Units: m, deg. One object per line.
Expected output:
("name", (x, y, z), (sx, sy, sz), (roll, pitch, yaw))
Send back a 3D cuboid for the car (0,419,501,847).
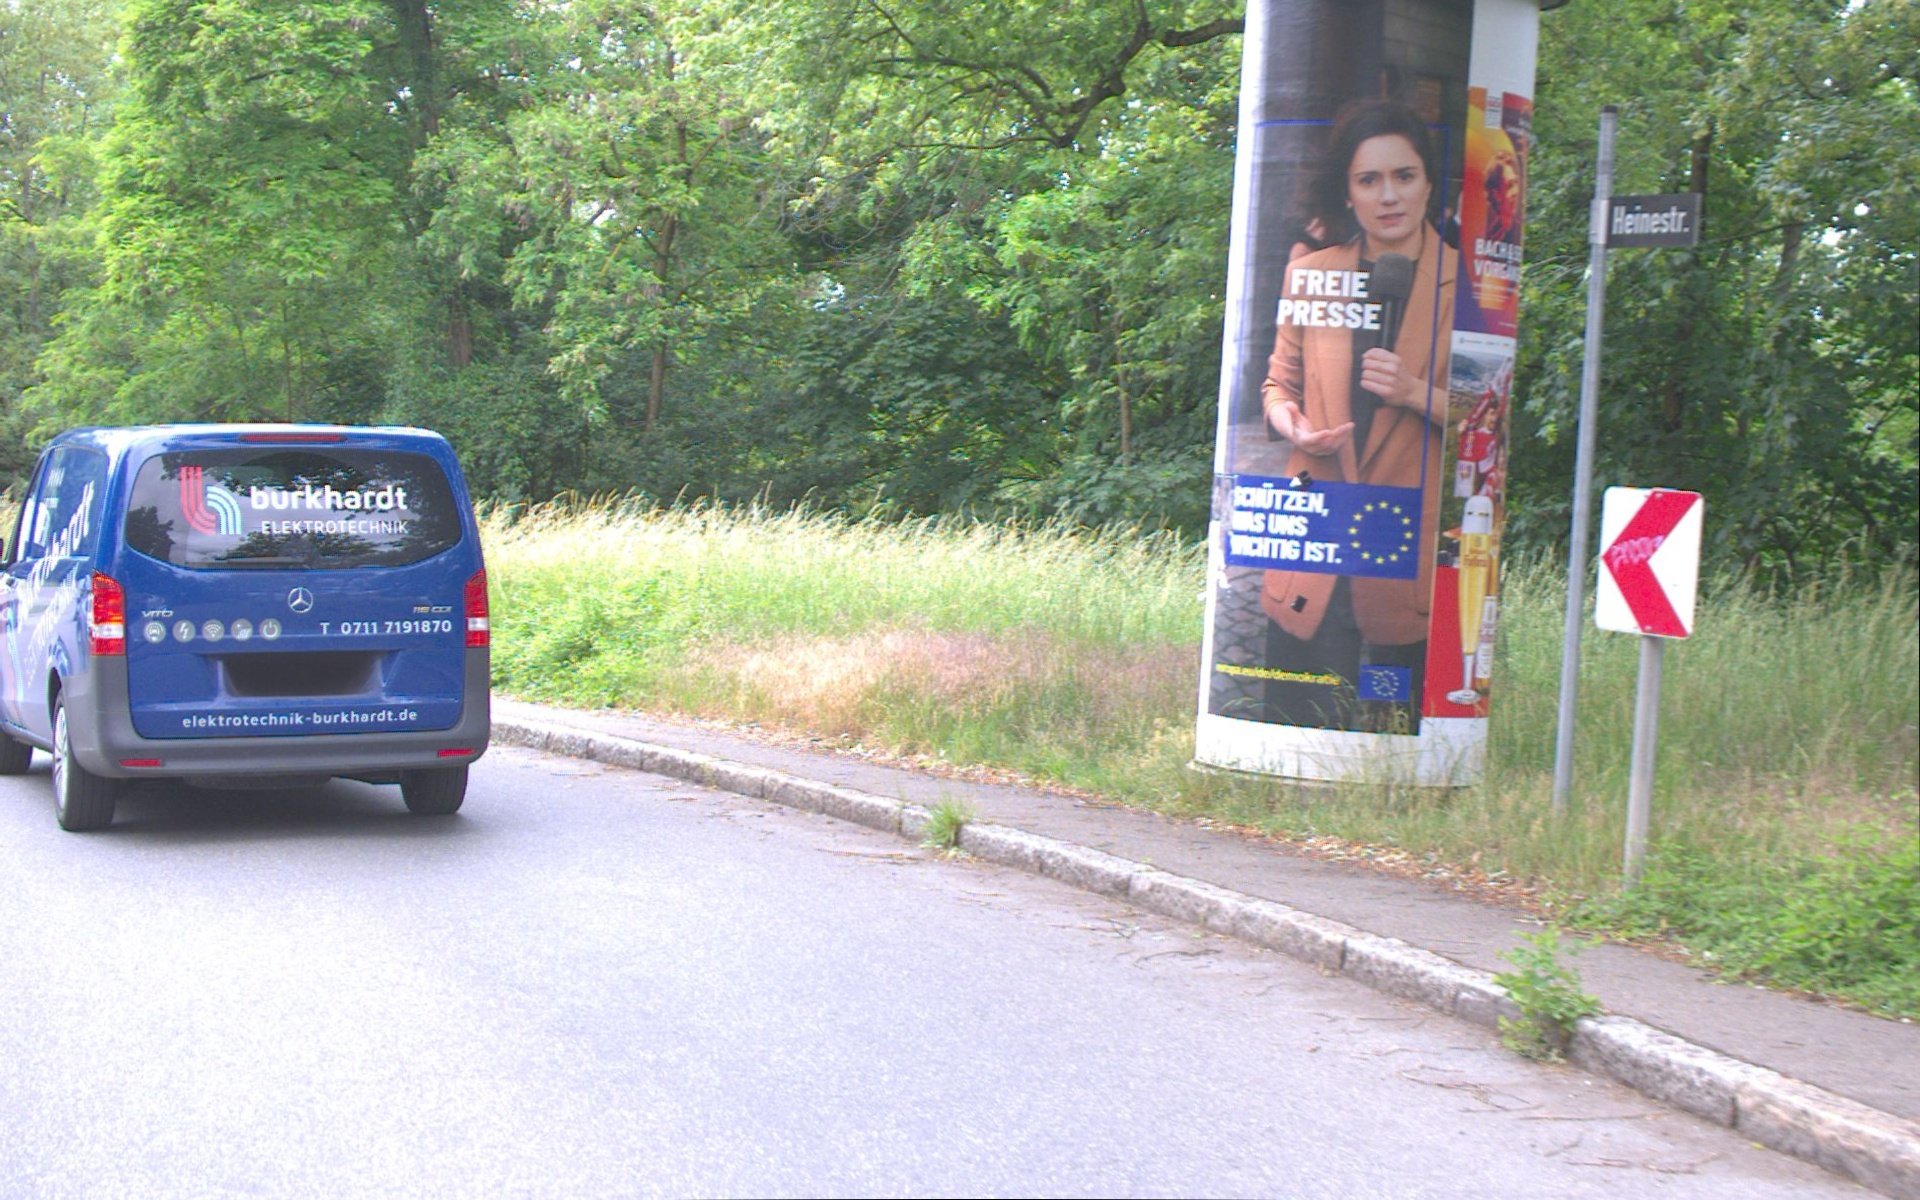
("car", (-3.779, 0.089, 17.059), (1.913, 1.831, 4.295), (-1, 1, -23))
